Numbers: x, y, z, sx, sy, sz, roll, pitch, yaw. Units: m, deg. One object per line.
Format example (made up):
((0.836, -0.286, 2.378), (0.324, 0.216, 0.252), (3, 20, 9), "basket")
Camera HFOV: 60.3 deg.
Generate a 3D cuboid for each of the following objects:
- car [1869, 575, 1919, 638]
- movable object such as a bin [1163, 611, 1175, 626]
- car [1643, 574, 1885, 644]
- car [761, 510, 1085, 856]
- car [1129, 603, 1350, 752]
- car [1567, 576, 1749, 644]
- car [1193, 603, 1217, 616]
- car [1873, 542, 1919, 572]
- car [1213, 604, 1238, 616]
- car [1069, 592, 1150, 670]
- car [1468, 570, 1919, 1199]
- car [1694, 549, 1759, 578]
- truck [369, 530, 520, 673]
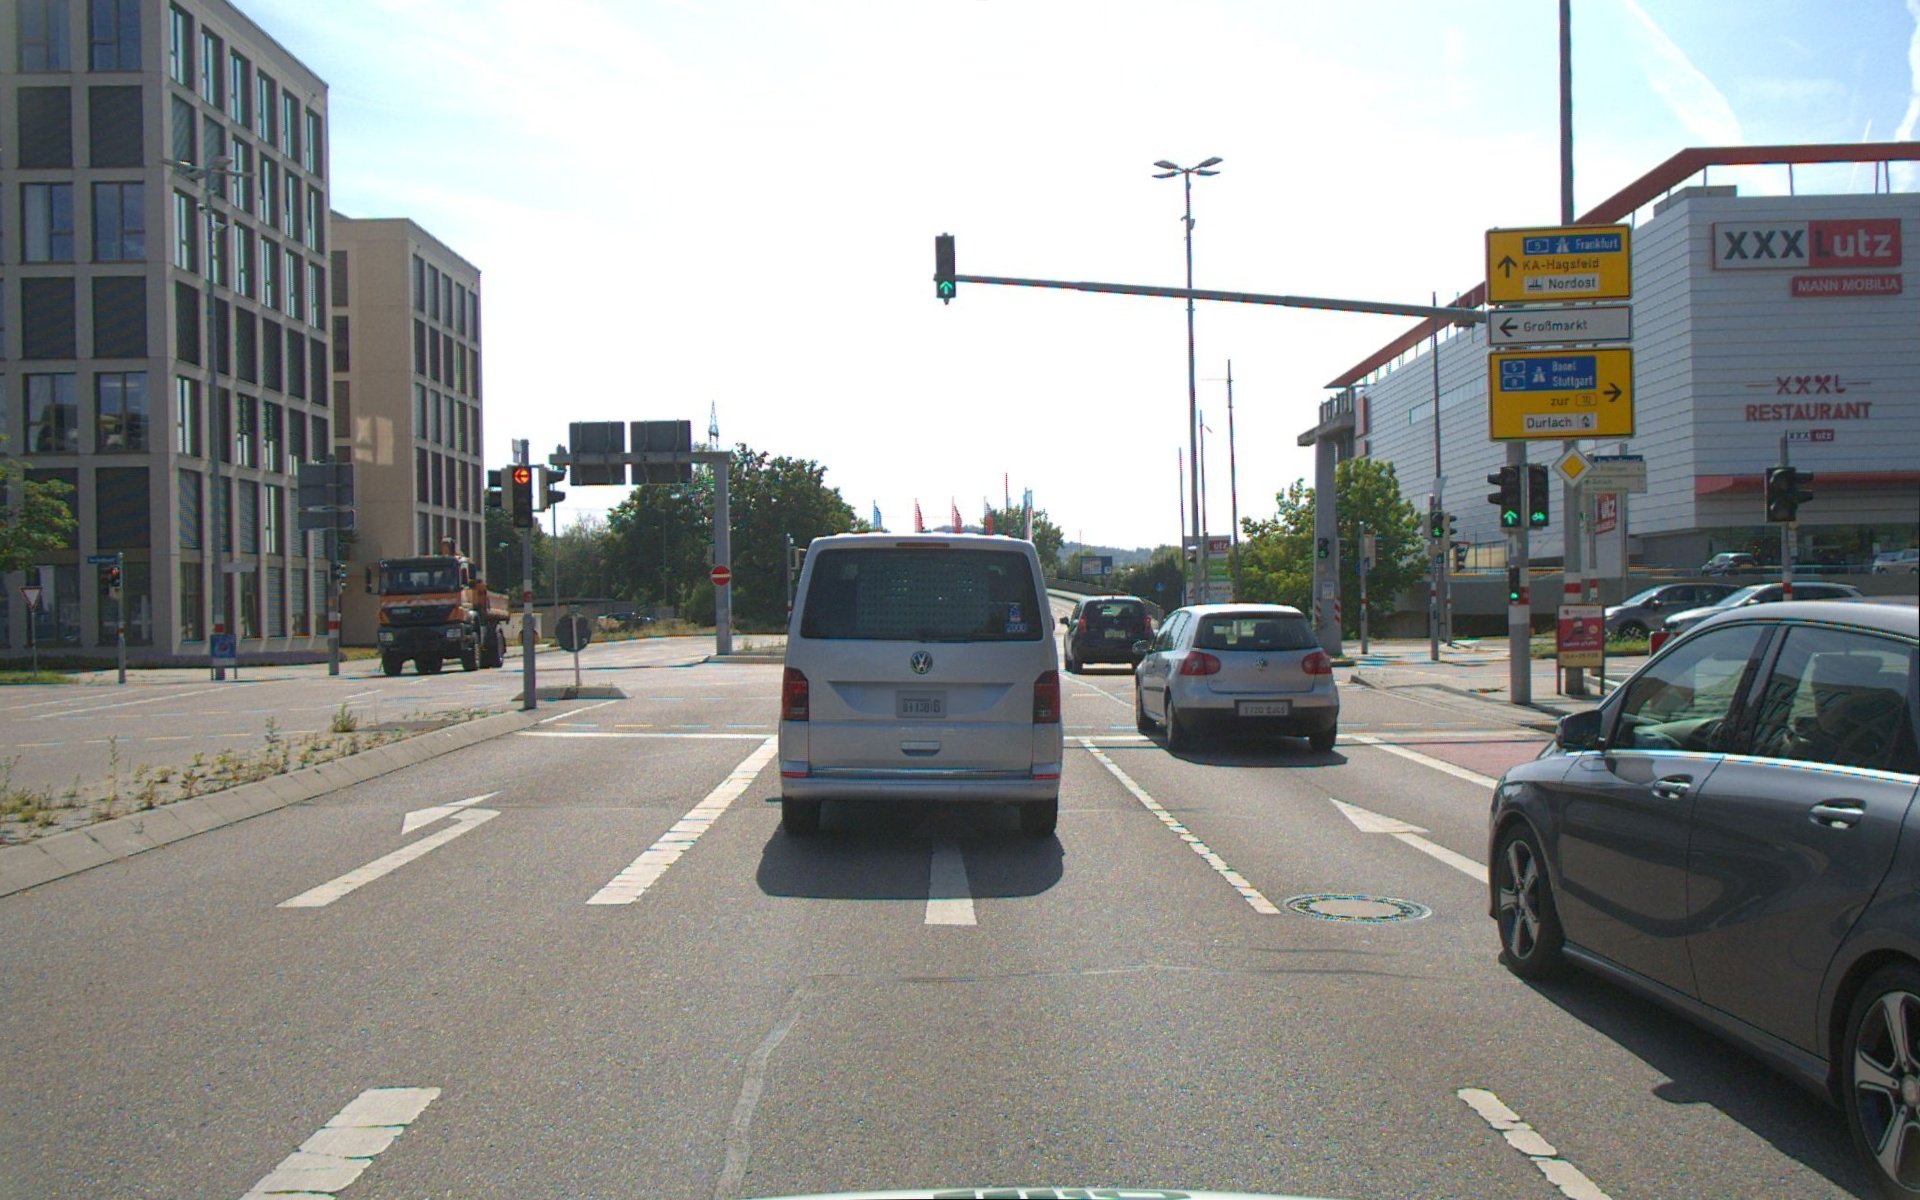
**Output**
((25.007, 0.108, 40.919), (3.944, 1.535, 1.909), (-2, -1, 2), "car")
((15.581, 1.363, 123.138), (0.793, 1.133, 1.182), (-1, 0, 4), "movable object such as a bin")
((18.624, 0.226, 38.472), (4.618, 1.450, 1.959), (-2, -1, 2), "car")
((-0.244, 0.490, 11.833), (1.878, 2.010, 4.296), (0, 0, -1), "car")
((2.905, 0.756, 17.909), (1.633, 1.439, 3.680), (0, 0, -3), "car")
((17.453, 0.257, 41.513), (3.803, 1.586, 1.809), (-1, 0, 3), "car")
((31.637, 1.202, 213.712), (1.849, 1.546, 3.991), (1, -1, -9), "car")
((49.160, -2.218, 85.399), (1.762, 1.444, 4.007), (-1, 0, -1), "car")
((34.299, 1.283, 213.780), (1.957, 1.445, 3.991), (1, -1, -9), "car")
((3.020, 0.612, 33.837), (1.499, 1.506, 3.597), (0, 0, 3), "car")
((3.168, 0.707, 5.245), (1.738, 1.566, 4.136), (0, 0, -2), "car")
((41.952, -2.001, 90.631), (1.734, 1.444, 4.201), (-1, 0, 2), "car")
((-14.743, 0.060, 47.891), (2.694, 3.744, 7.568), (-1, 0, -6), "truck")
